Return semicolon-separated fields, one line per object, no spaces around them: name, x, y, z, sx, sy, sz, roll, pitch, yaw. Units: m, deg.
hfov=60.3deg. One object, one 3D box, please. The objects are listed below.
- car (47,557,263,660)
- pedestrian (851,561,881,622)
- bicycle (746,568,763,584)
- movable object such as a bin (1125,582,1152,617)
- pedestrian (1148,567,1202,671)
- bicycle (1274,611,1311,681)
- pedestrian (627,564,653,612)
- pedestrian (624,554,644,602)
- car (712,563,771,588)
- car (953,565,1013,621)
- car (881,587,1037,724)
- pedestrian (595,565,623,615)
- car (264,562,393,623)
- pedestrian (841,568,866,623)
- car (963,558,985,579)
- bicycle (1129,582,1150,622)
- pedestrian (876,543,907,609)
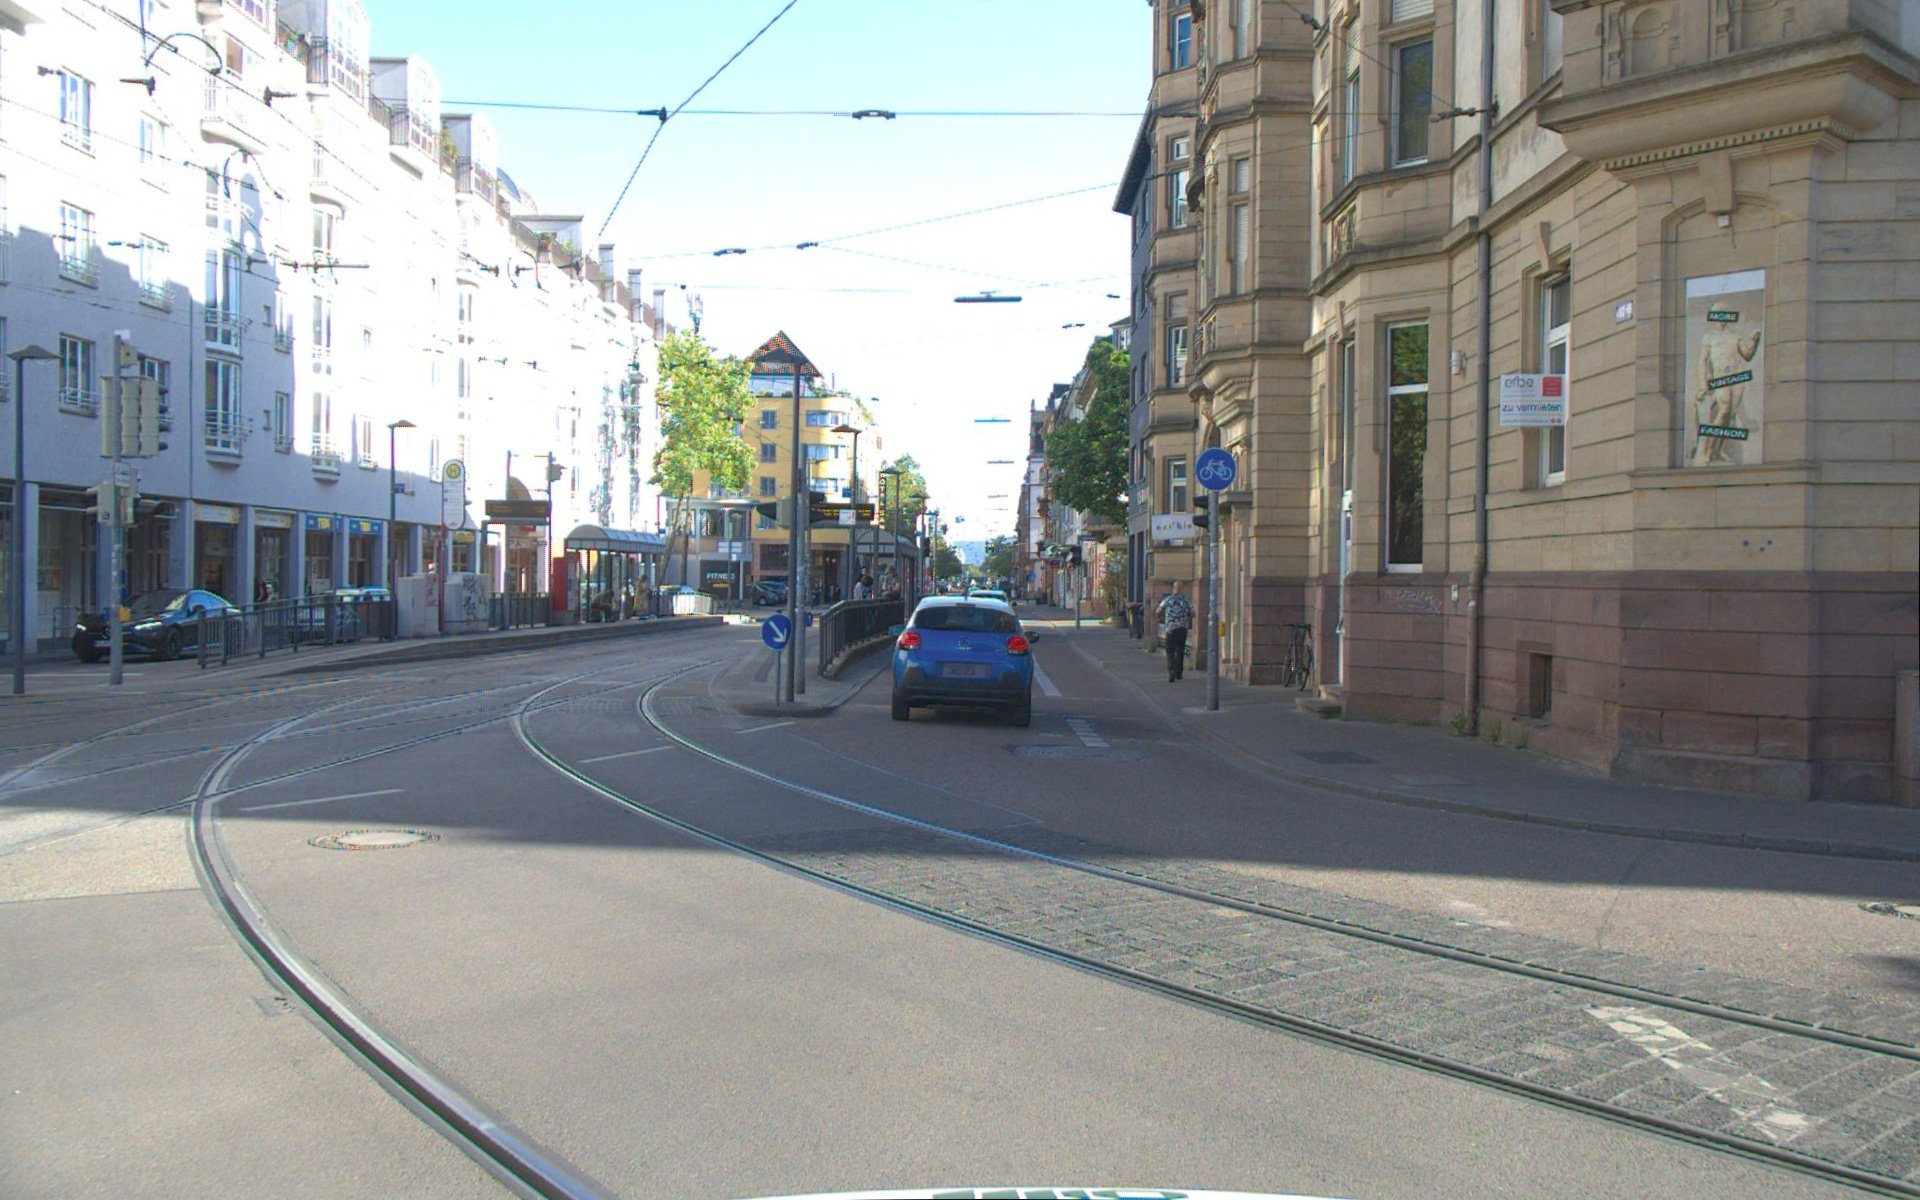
car;-16.504;0.138;34.218;2.181;1.944;4.609;1;1;0
pedestrian;-2.794;-0.257;49.002;0.705;1.808;0.563;1;1;37
bicycle;-13.378;-1.595;107.815;0.665;1.020;2.687;1;1;2
movable object such as a bin;5.503;-0.018;51.093;0.733;1.054;0.754;-3;0;1
pedestrian;3.796;0.325;29.316;0.764;1.780;1.093;1;2;-2
bicycle;5.339;0.726;26.605;0.250;1.071;1.769;2;0;1
pedestrian;-10.816;-0.406;55.954;0.716;1.586;0.743;1;1;0
pedestrian;-14.240;-0.968;72.262;0.655;2.049;0.708;2;0;2
car;-15.282;-1.742;115.886;3.907;1.703;1.957;1;1;-2
car;0.806;-0.235;56.812;1.952;1.773;4.001;2;0;1
car;0.033;0.625;20.787;1.744;1.476;3.655;2;1;1
pedestrian;-11.005;-0.316;51.904;0.716;1.554;0.743;1;1;0
car;-16.730;-0.218;44.038;1.693;1.541;4.405;1;1;0
pedestrian;-3.119;-0.139;48.479;0.575;1.589;0.468;1;1;37
car;1.299;-2.950;153.896;1.952;1.773;4.001;2;0;1
bicycle;5.254;0.054;48.494;0.450;1.142;1.773;-1;1;2
pedestrian;-1.826;-0.633;44.108;0.623;1.727;0.934;2;0;8
